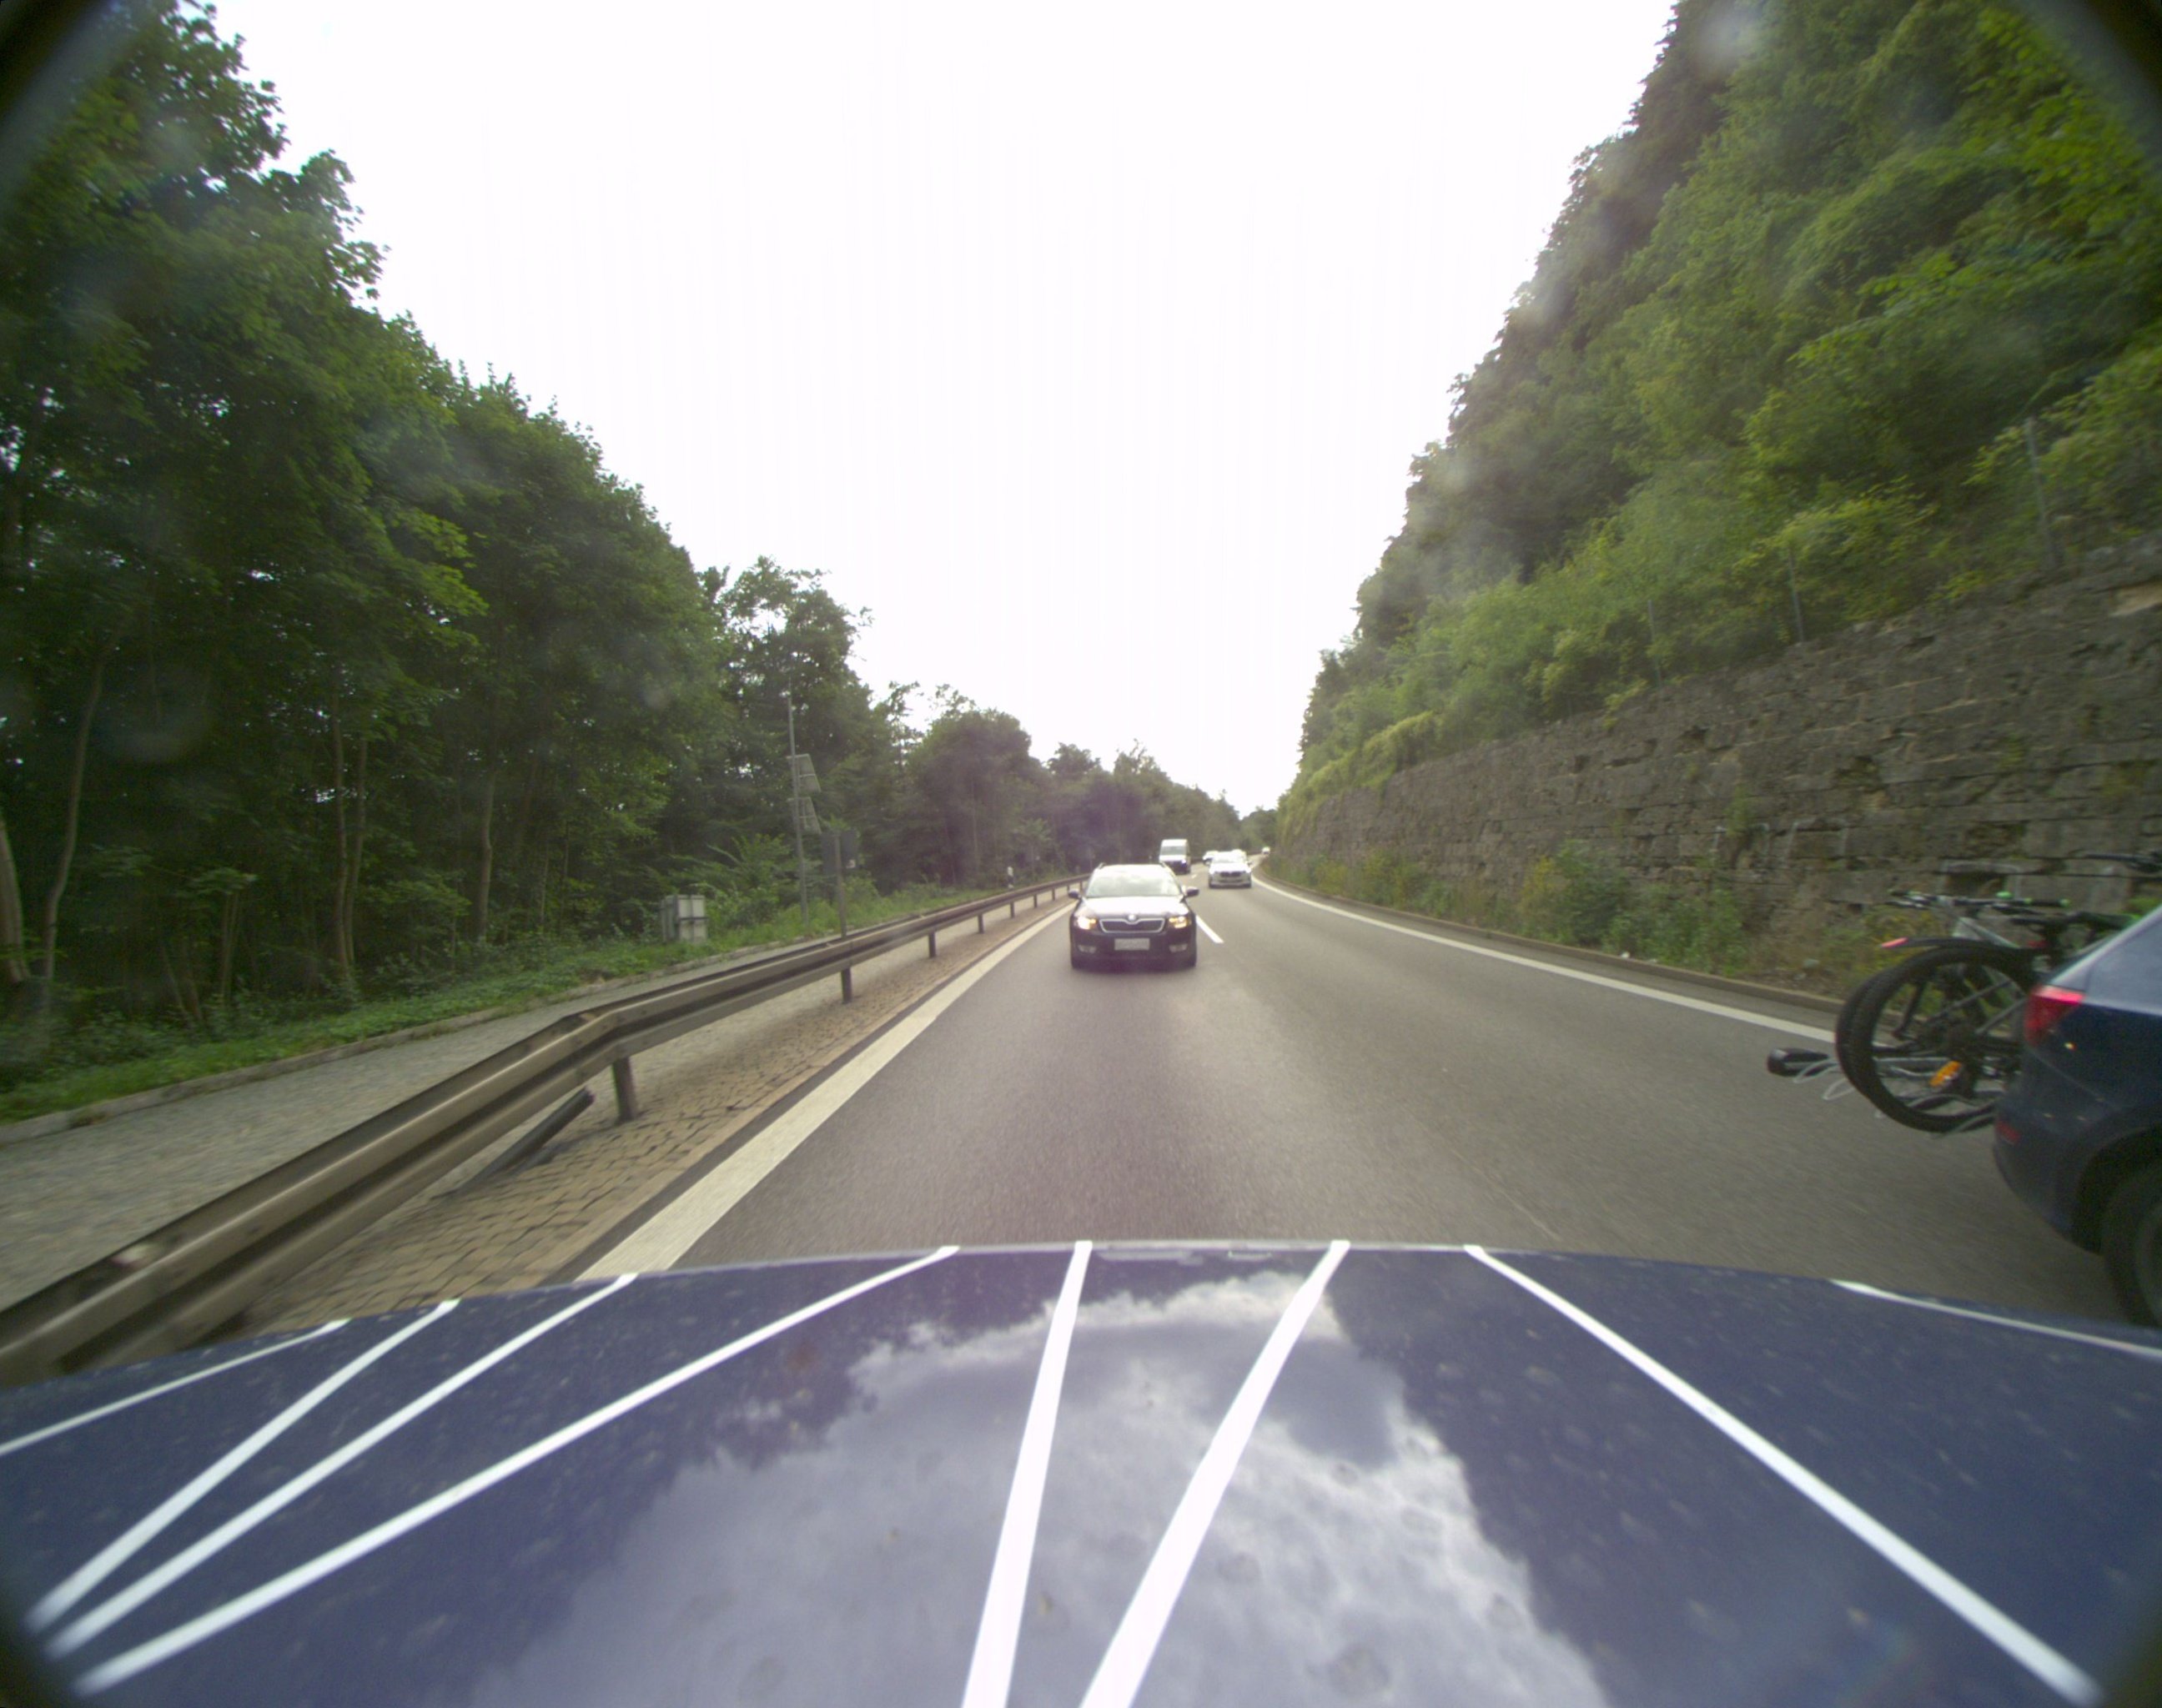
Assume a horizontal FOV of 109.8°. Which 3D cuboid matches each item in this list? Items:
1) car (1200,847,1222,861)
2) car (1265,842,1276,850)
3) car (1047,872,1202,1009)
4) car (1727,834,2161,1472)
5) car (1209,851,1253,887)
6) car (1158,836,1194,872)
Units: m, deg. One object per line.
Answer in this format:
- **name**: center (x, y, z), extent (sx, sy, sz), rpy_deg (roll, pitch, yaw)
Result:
- **car**: center (15.119, 0.038, 88.453), extent (1.820, 1.546, 4.006), rpy_deg (-1, 0, 19)
- **car**: center (39.390, -1.671, 157.960), extent (1.820, 1.546, 4.006), rpy_deg (-1, 0, 21)
- **car**: center (0.646, 0.987, 10.412), extent (1.637, 1.384, 4.500), rpy_deg (-1, -1, 5)
- **car**: center (3.759, 0.811, 0.500), extent (1.976, 1.584, 5.585), rpy_deg (-4, 1, 2)
- **car**: center (6.824, 0.664, 34.768), extent (1.822, 1.546, 4.003), rpy_deg (-1, 0, 10)
- **car**: center (7.128, 0.015, 56.650), extent (2.097, 2.547, 5.925), rpy_deg (-1, 0, 12)
